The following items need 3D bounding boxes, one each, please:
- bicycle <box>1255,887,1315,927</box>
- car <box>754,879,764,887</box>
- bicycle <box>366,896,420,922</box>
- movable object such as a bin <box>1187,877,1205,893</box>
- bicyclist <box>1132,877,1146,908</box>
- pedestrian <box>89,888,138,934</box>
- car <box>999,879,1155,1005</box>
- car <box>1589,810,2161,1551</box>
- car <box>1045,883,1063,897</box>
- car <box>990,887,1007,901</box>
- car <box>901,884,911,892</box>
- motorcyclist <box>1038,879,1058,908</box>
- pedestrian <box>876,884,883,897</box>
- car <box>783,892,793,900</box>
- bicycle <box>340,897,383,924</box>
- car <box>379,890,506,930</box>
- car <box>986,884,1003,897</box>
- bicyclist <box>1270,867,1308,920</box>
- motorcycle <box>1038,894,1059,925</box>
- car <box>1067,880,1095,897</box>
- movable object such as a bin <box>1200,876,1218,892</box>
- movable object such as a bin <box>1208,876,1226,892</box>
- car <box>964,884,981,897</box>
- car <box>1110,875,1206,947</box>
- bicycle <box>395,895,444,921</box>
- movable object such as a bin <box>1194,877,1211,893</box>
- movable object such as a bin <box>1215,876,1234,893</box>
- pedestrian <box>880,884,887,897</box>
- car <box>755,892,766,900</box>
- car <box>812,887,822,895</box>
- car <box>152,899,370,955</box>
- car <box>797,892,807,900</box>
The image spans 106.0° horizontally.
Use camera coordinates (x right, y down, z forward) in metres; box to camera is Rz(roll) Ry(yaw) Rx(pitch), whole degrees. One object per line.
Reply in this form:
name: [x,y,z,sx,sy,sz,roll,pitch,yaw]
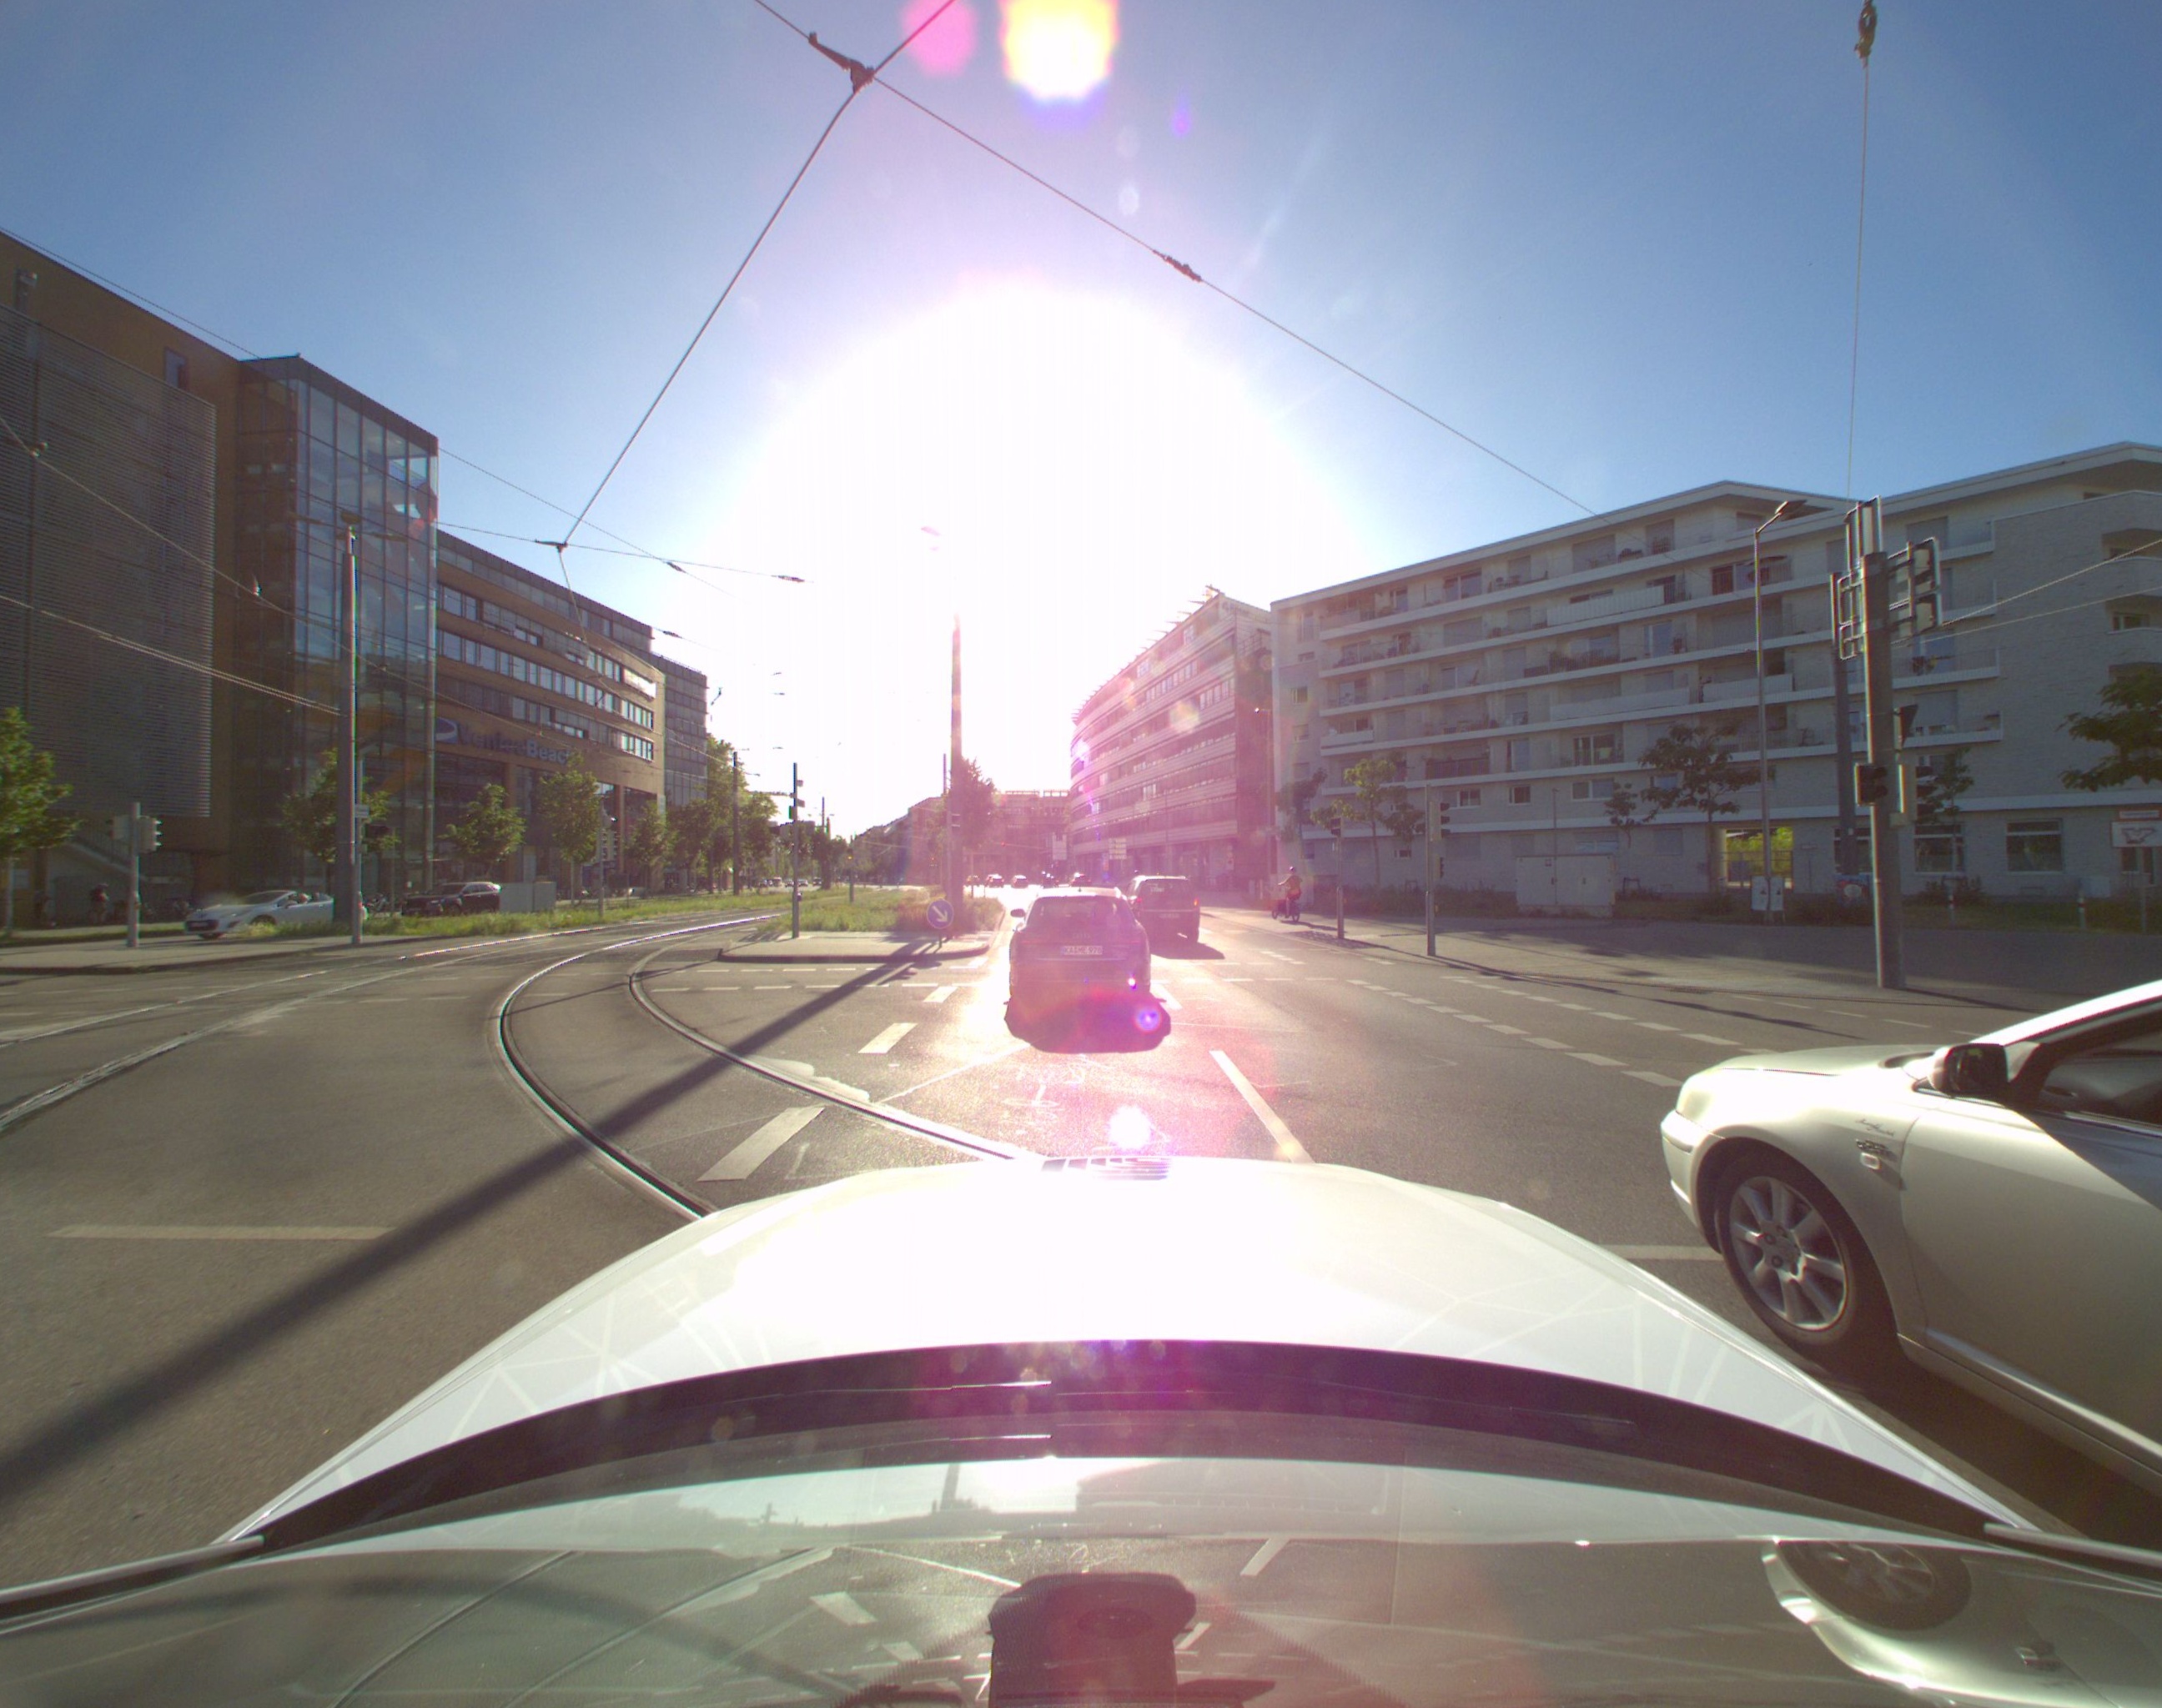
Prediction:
bicycle: [6.763,1.738,27.138,0.770,1.263,2.062,1,-3,-28]
car: [-83.877,7.655,212.338,1.998,2.014,3.977,0,-2,-16]
bicycle: [-39.261,3.121,46.480,2.441,1.434,1.081,-2,-4,16]
movable object such as a bin: [9.947,2.694,70.537,1.063,1.332,1.117,0,-4,-21]
bicyclist: [3.146,2.095,44.037,0.650,1.643,0.974,-1,-2,10]
pedestrian: [-39.428,2.333,33.197,0.822,1.825,0.907,-2,-4,8]
car: [0.072,1.121,11.752,1.834,1.454,4.003,1,-2,3]
car: [3.014,0.633,1.233,1.739,1.482,4.630,0,-3,2]
car: [-3.783,4.985,113.045,1.992,1.838,3.988,0,-3,-8]
car: [-10.515,5.101,103.642,1.992,1.596,3.988,0,-3,-8]
car: [-40.790,7.965,189.818,1.999,1.706,3.974,0,-4,-18]
motorcyclist: [-1.524,1.821,37.389,0.862,1.326,0.679,0,-3,-7]
pedestrian: [-28.850,5.276,116.413,0.902,1.825,0.826,0,-4,-10]
car: [-62.513,8.925,173.841,2.001,1.684,3.970,0,-3,-21]
bicycle: [-39.340,3.081,44.529,1.963,1.434,0.810,-2,-4,16]
car: [-27.980,2.407,35.911,1.986,1.640,4.411,0,-3,1]
car: [-11.735,4.949,110.026,1.994,1.706,3.984,0,-3,-11]
bicyclist: [6.880,1.300,26.946,0.770,1.707,0.922,1,-3,-28]
motorcycle: [-1.502,2.529,37.392,0.862,1.393,1.888,0,-3,-7]
car: [-0.014,3.505,83.165,2.004,1.715,4.353,2,-2,-12]
movable object such as a bin: [10.774,2.507,68.364,1.063,1.332,1.117,0,-4,-21]
movable object such as a bin: [11.204,2.467,67.180,1.063,1.332,1.117,0,-4,-21]
car: [-14.587,4.925,109.465,1.994,1.706,3.984,0,-3,-11]
car: [1.920,1.444,21.529,1.743,1.696,4.251,1,-2,-5]
bicycle: [-38.930,3.173,47.921,2.542,1.434,0.908,-2,-4,16]
movable object such as a bin: [10.360,2.612,69.499,1.063,1.332,1.117,0,-4,-21]
movable object such as a bin: [11.644,2.462,65.973,1.063,1.332,1.117,0,-4,-21]
pedestrian: [-28.021,5.213,115.683,0.902,1.825,0.826,0,-4,-10]
car: [-67.013,8.851,170.294,2.001,1.684,3.970,0,-3,-21]
car: [-57.025,8.029,175.858,2.001,1.684,3.970,0,-3,-21]
car: [-25.383,2.208,25.515,1.984,1.546,4.534,0,-2,4]
car: [-59.834,8.968,174.671,2.001,1.684,3.970,0,-3,-21]
